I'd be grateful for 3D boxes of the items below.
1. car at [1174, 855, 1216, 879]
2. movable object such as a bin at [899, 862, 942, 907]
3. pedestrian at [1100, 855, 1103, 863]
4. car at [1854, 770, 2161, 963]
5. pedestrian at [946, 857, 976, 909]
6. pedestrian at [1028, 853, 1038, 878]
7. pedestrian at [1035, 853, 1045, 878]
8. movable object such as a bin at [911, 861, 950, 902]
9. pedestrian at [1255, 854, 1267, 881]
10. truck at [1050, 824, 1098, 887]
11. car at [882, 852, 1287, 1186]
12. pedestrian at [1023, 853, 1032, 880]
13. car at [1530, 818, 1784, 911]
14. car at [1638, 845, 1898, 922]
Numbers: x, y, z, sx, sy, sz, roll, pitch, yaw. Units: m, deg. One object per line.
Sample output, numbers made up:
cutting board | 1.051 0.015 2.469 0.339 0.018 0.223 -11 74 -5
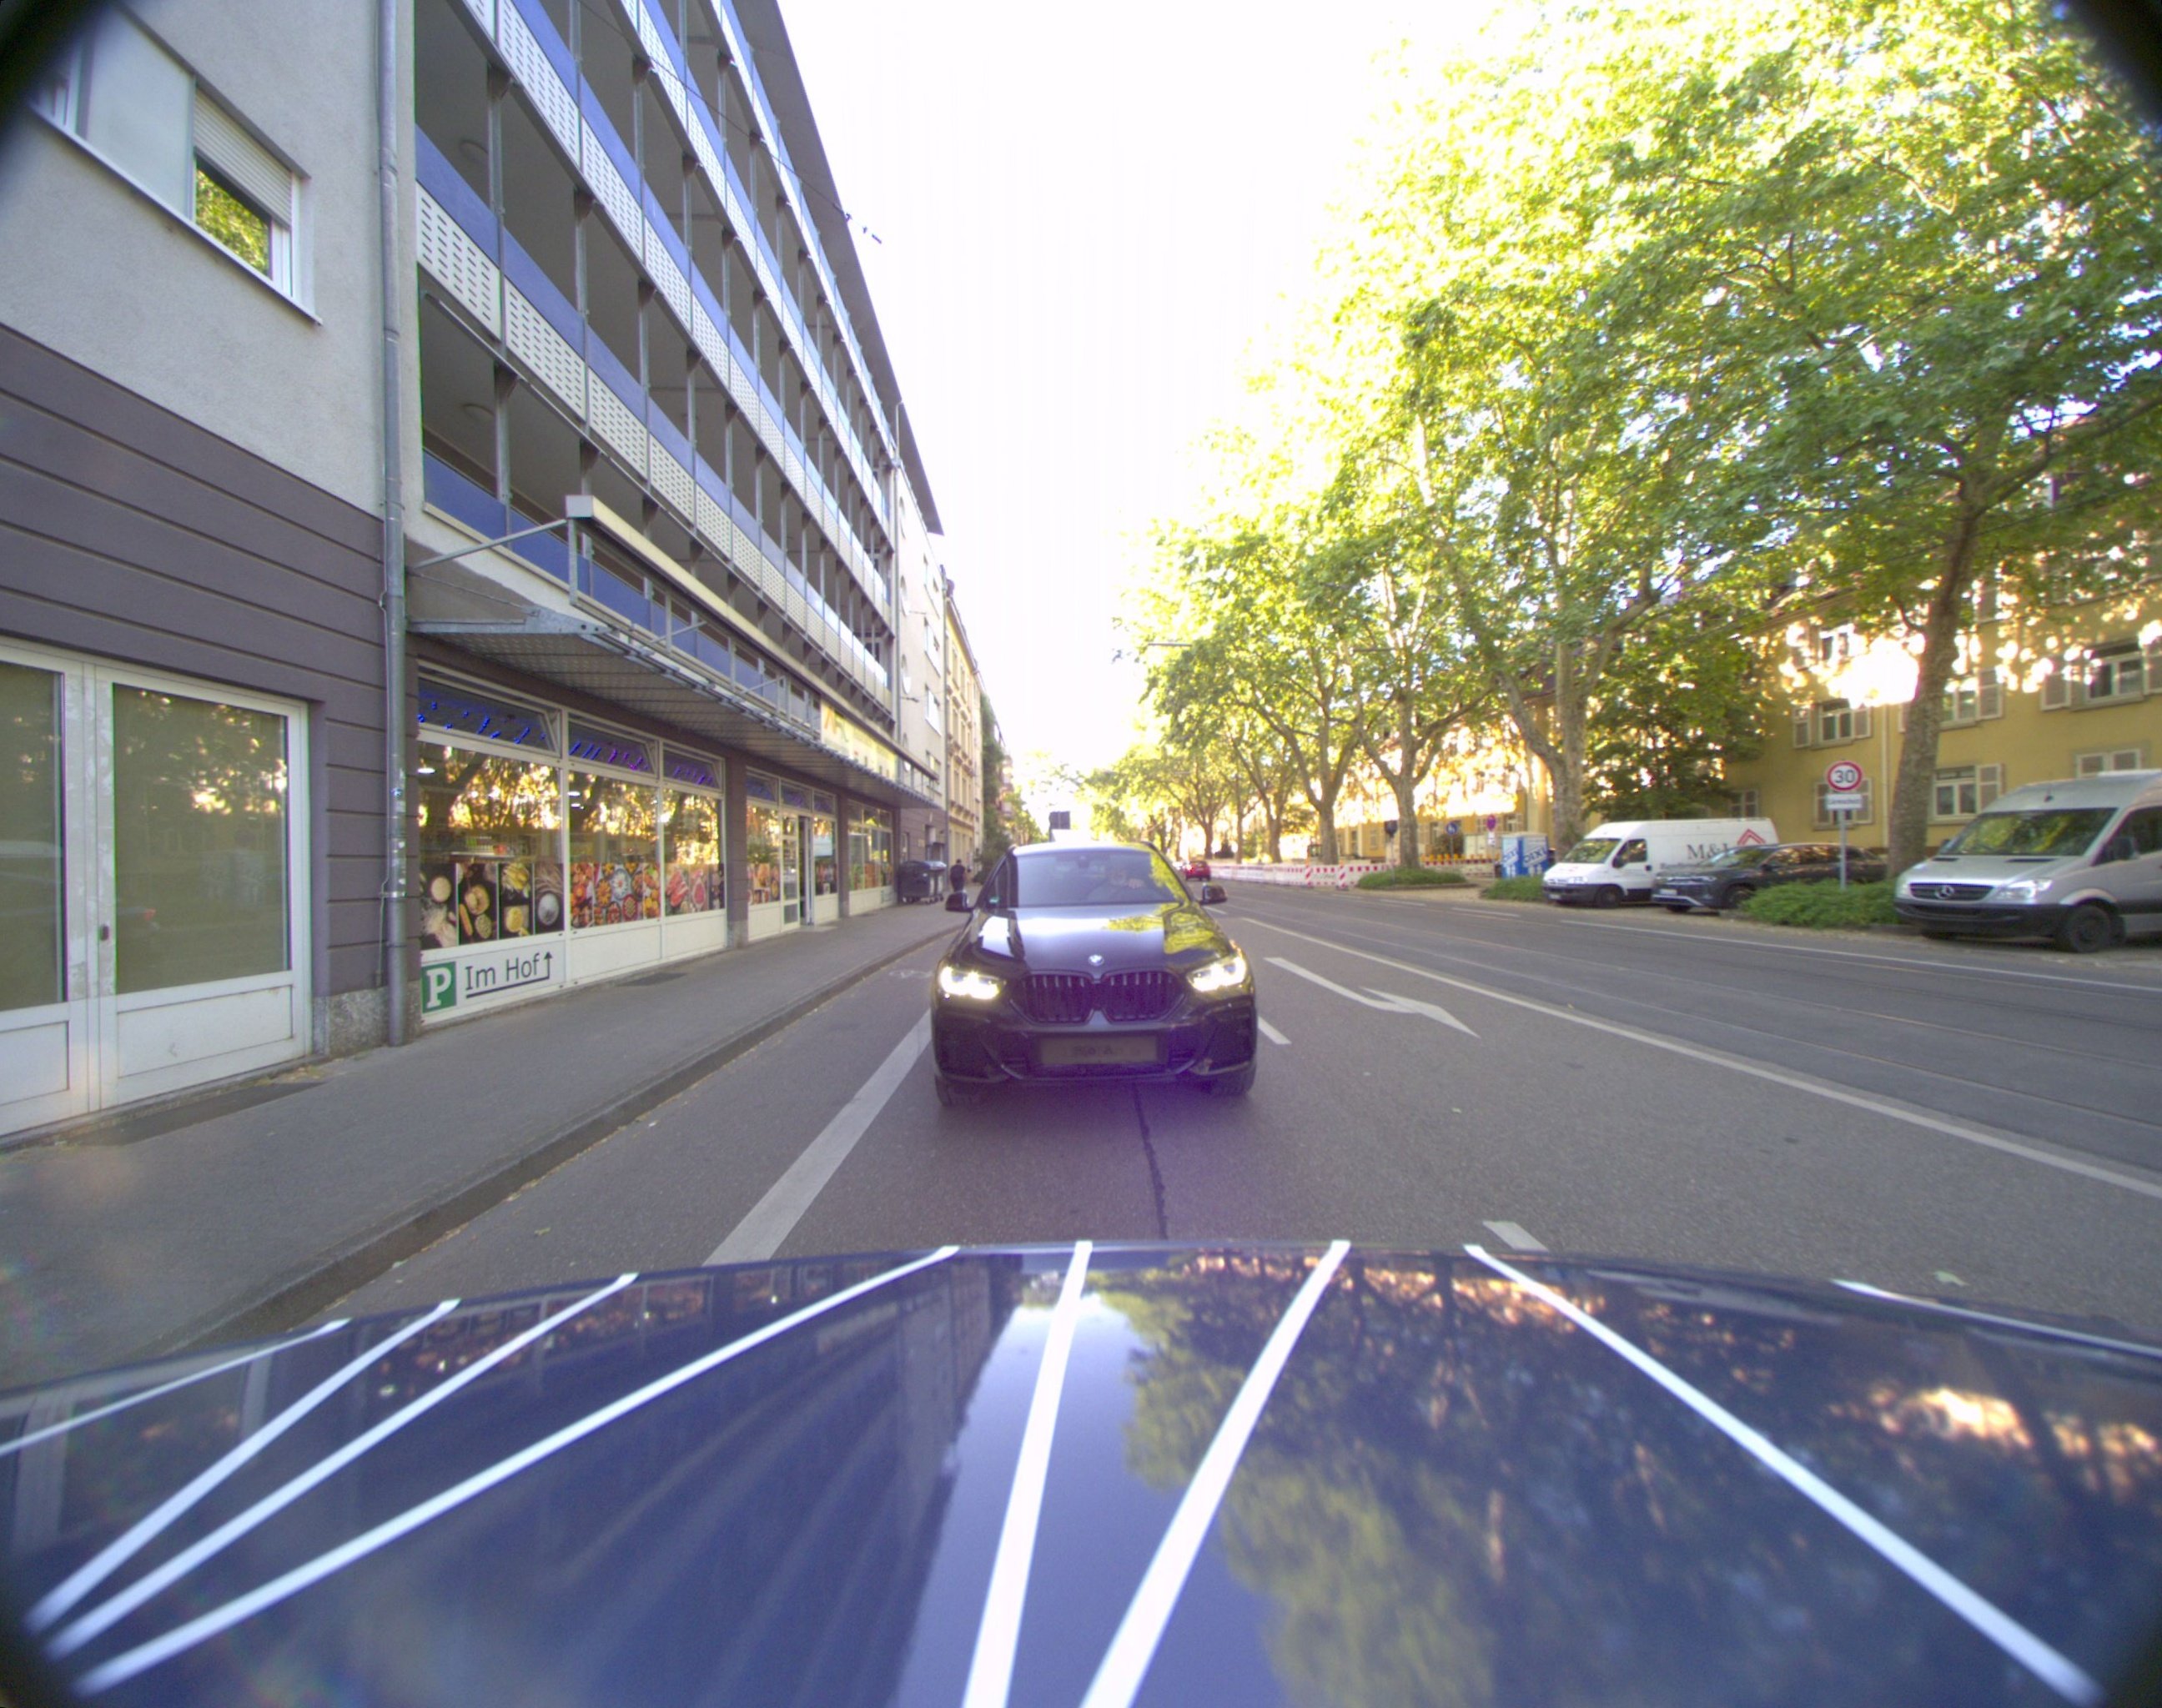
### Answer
car | 7.914 0.893 53.033 2.022 1.556 4.490 -1 0 -3
movable object such as a bin | -5.206 0.966 24.643 1.158 1.418 0.939 -1 0 1
pedestrian | 4.719 1.098 175.862 0.733 1.875 0.741 -2 1 0
car | 15.987 0.127 11.856 5.666 2.666 2.223 -2 0 -2
pedestrian | -3.752 0.891 23.794 0.864 1.582 0.622 -1 0 -5
pedestrian | -3.747 0.887 59.448 0.733 1.875 0.664 -2 1 -1
pedestrian | -3.151 0.851 58.579 0.733 1.875 0.664 -2 1 -1
movable object such as a bin | -5.282 0.953 26.681 1.158 1.418 0.939 -1 0 1
pedestrian | 11.645 0.871 49.176 0.651 1.735 0.583 -2 1 5
truck | -0.314 0.122 42.188 2.394 3.170 6.587 -1 0 1
car | 0.044 0.833 5.947 1.998 1.643 4.295 -1 0 1
pedestrian | -3.779 0.863 53.701 0.600 1.875 0.581 -2 1 -1
car | 15.846 0.289 21.145 5.404 2.362 2.223 -1 0 0
car | 16.080 0.657 17.938 4.627 1.642 1.774 -1 0 -2
